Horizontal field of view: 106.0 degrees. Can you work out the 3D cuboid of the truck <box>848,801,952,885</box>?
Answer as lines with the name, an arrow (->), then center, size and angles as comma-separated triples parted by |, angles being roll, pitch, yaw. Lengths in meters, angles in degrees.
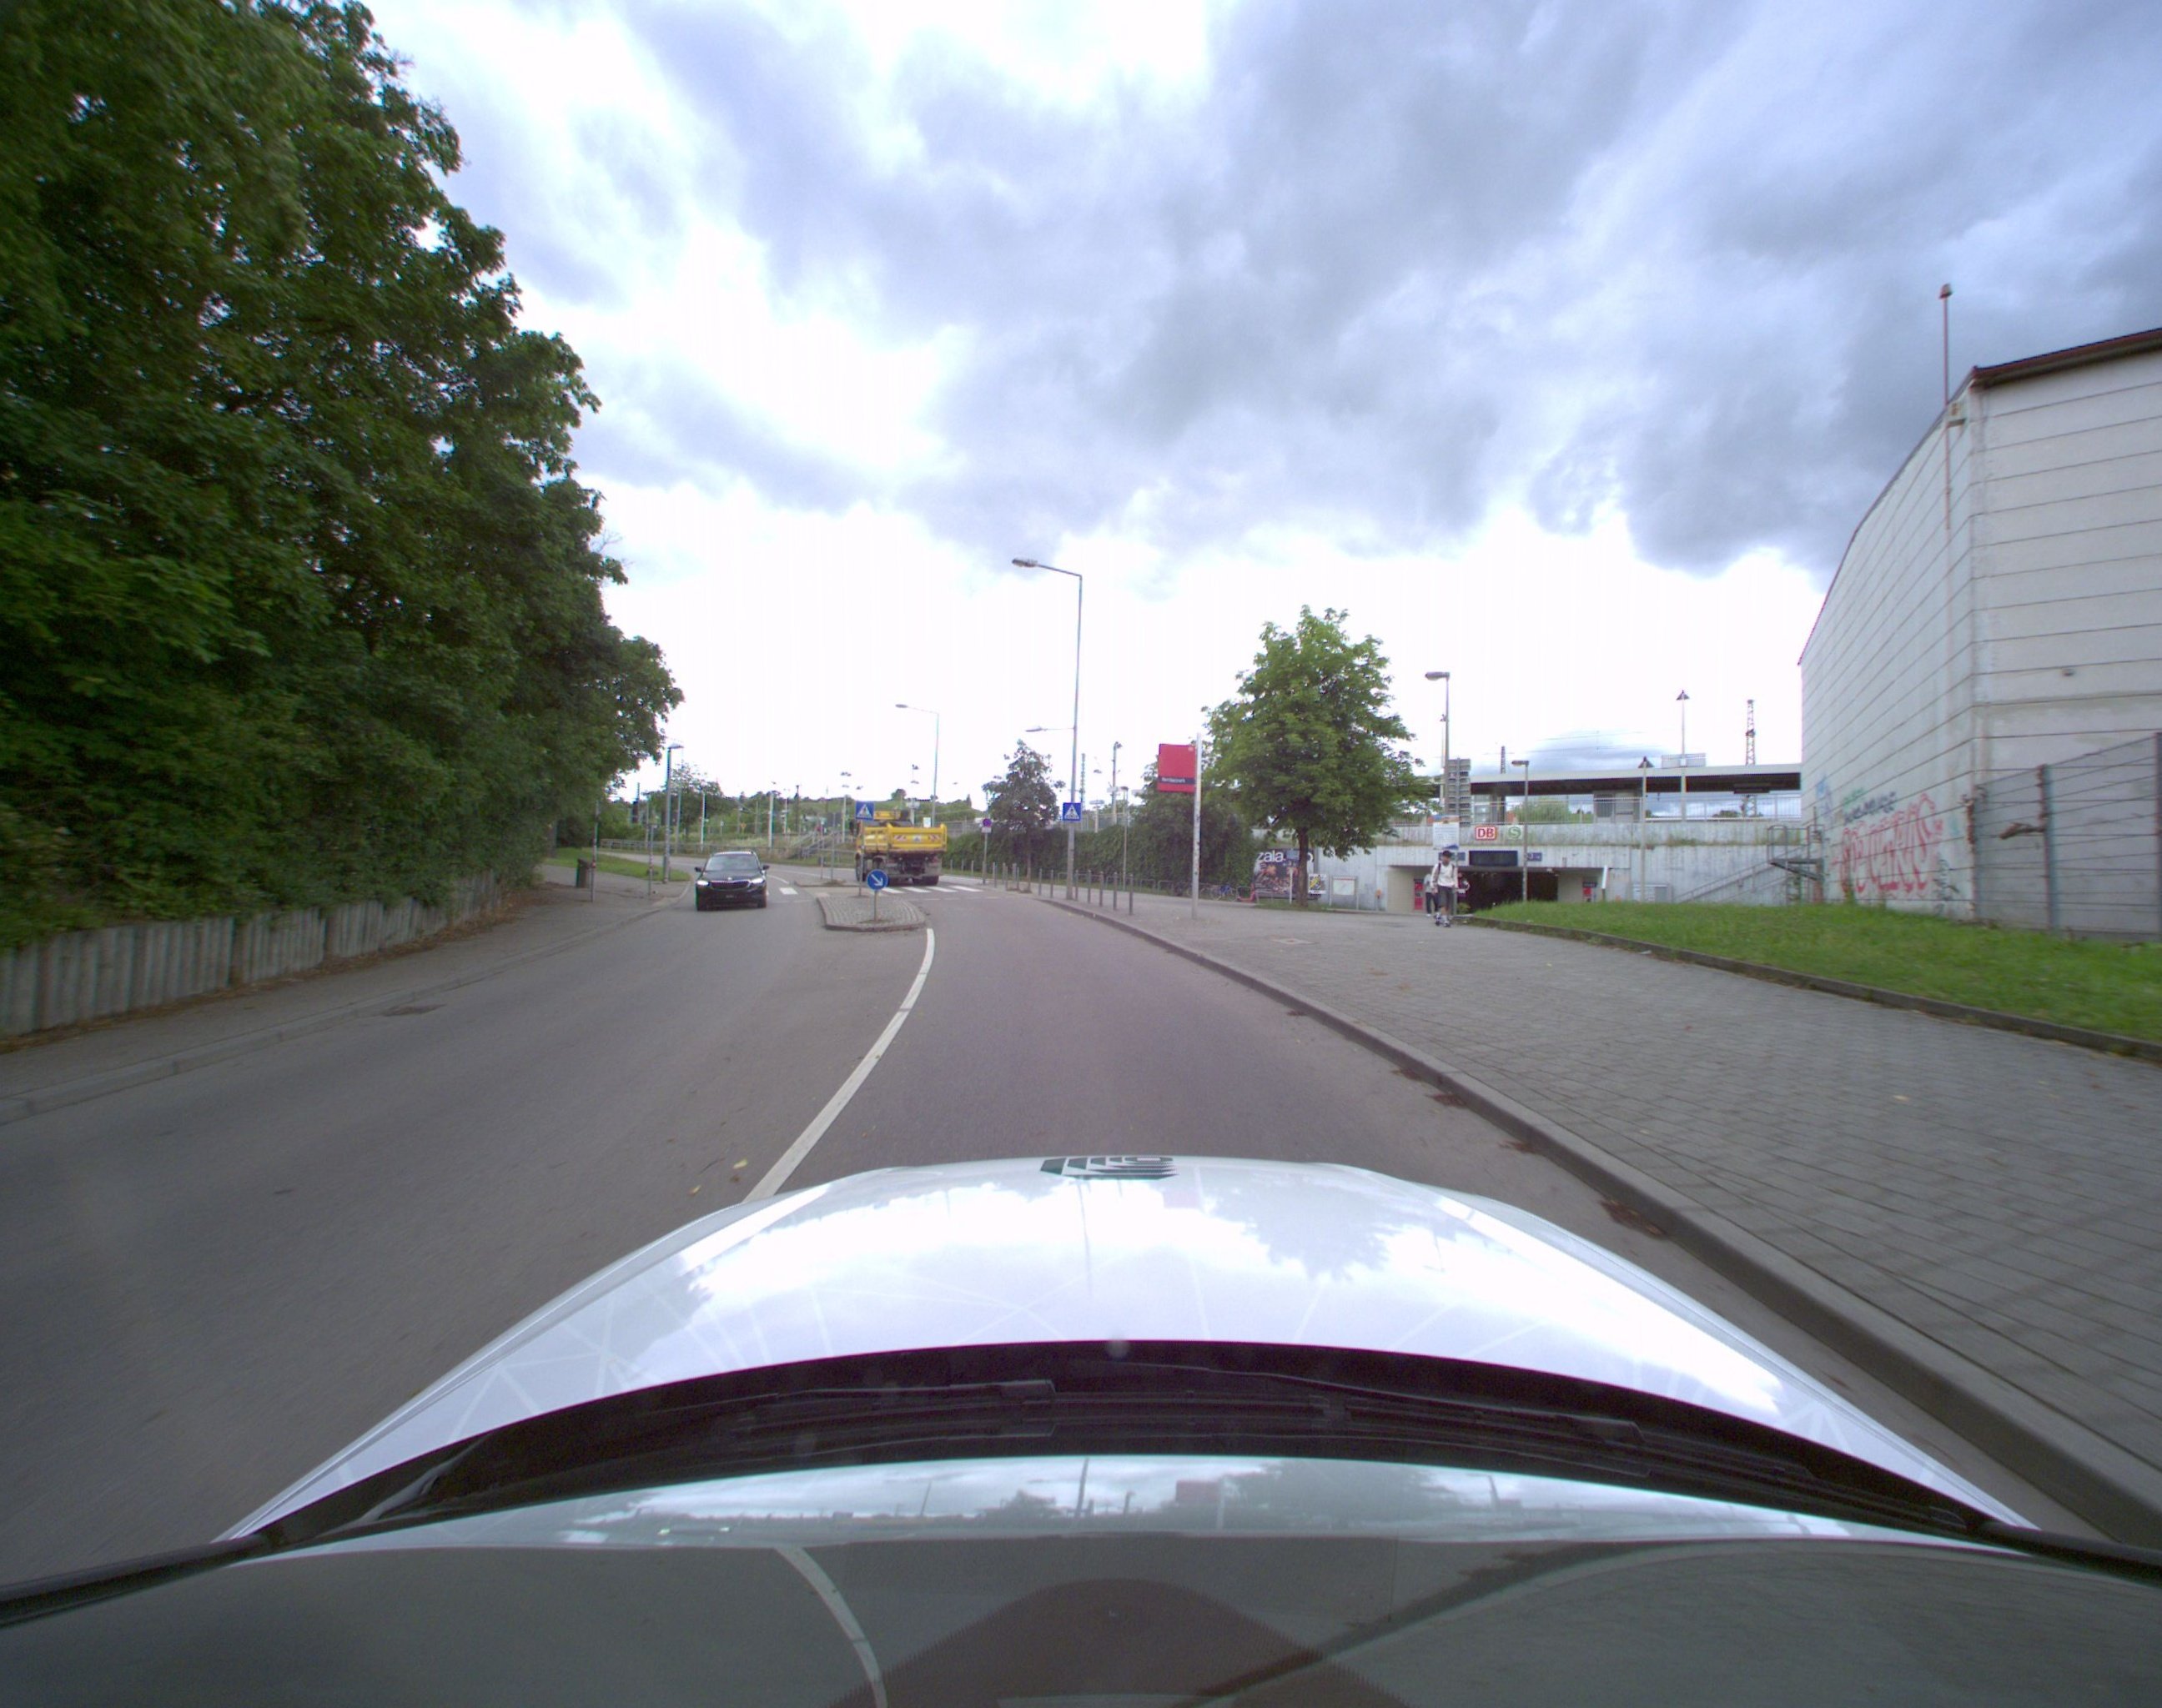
truck -> -8.661, -0.541, 38.155 | 2.779, 3.483, 8.060 | 2, 1, -27

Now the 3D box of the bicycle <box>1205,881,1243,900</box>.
bicycle -> 7.629, 1.951, 43.457 | 1.971, 0.865, 0.508 | 5, -1, -18

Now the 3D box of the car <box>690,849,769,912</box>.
car -> -10.177, 0.698, 23.854 | 1.808, 1.610, 4.149 | -2, 1, -20

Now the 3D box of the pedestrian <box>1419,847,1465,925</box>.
pedestrian -> 8.079, 0.712, 18.249 | 0.841, 1.684, 0.944 | 0, -3, 18

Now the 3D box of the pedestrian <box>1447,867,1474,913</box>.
pedestrian -> 13.126, 1.241, 28.183 | 0.792, 1.583, 0.806 | 0, -3, 22

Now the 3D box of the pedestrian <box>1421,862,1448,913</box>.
pedestrian -> 12.084, 1.138, 27.854 | 0.807, 1.703, 0.752 | 0, -3, 22

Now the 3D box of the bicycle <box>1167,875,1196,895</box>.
bicycle -> 5.518, 1.729, 44.884 | 1.483, 0.989, 0.694 | 4, -1, -1

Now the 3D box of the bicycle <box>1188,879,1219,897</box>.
bicycle -> 6.677, 1.864, 44.434 | 1.577, 0.854, 0.461 | 4, -1, -15

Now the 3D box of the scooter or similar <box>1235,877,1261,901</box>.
scooter or similar -> 8.696, 1.822, 42.336 | 1.189, 1.206, 0.466 | 4, -2, -15
